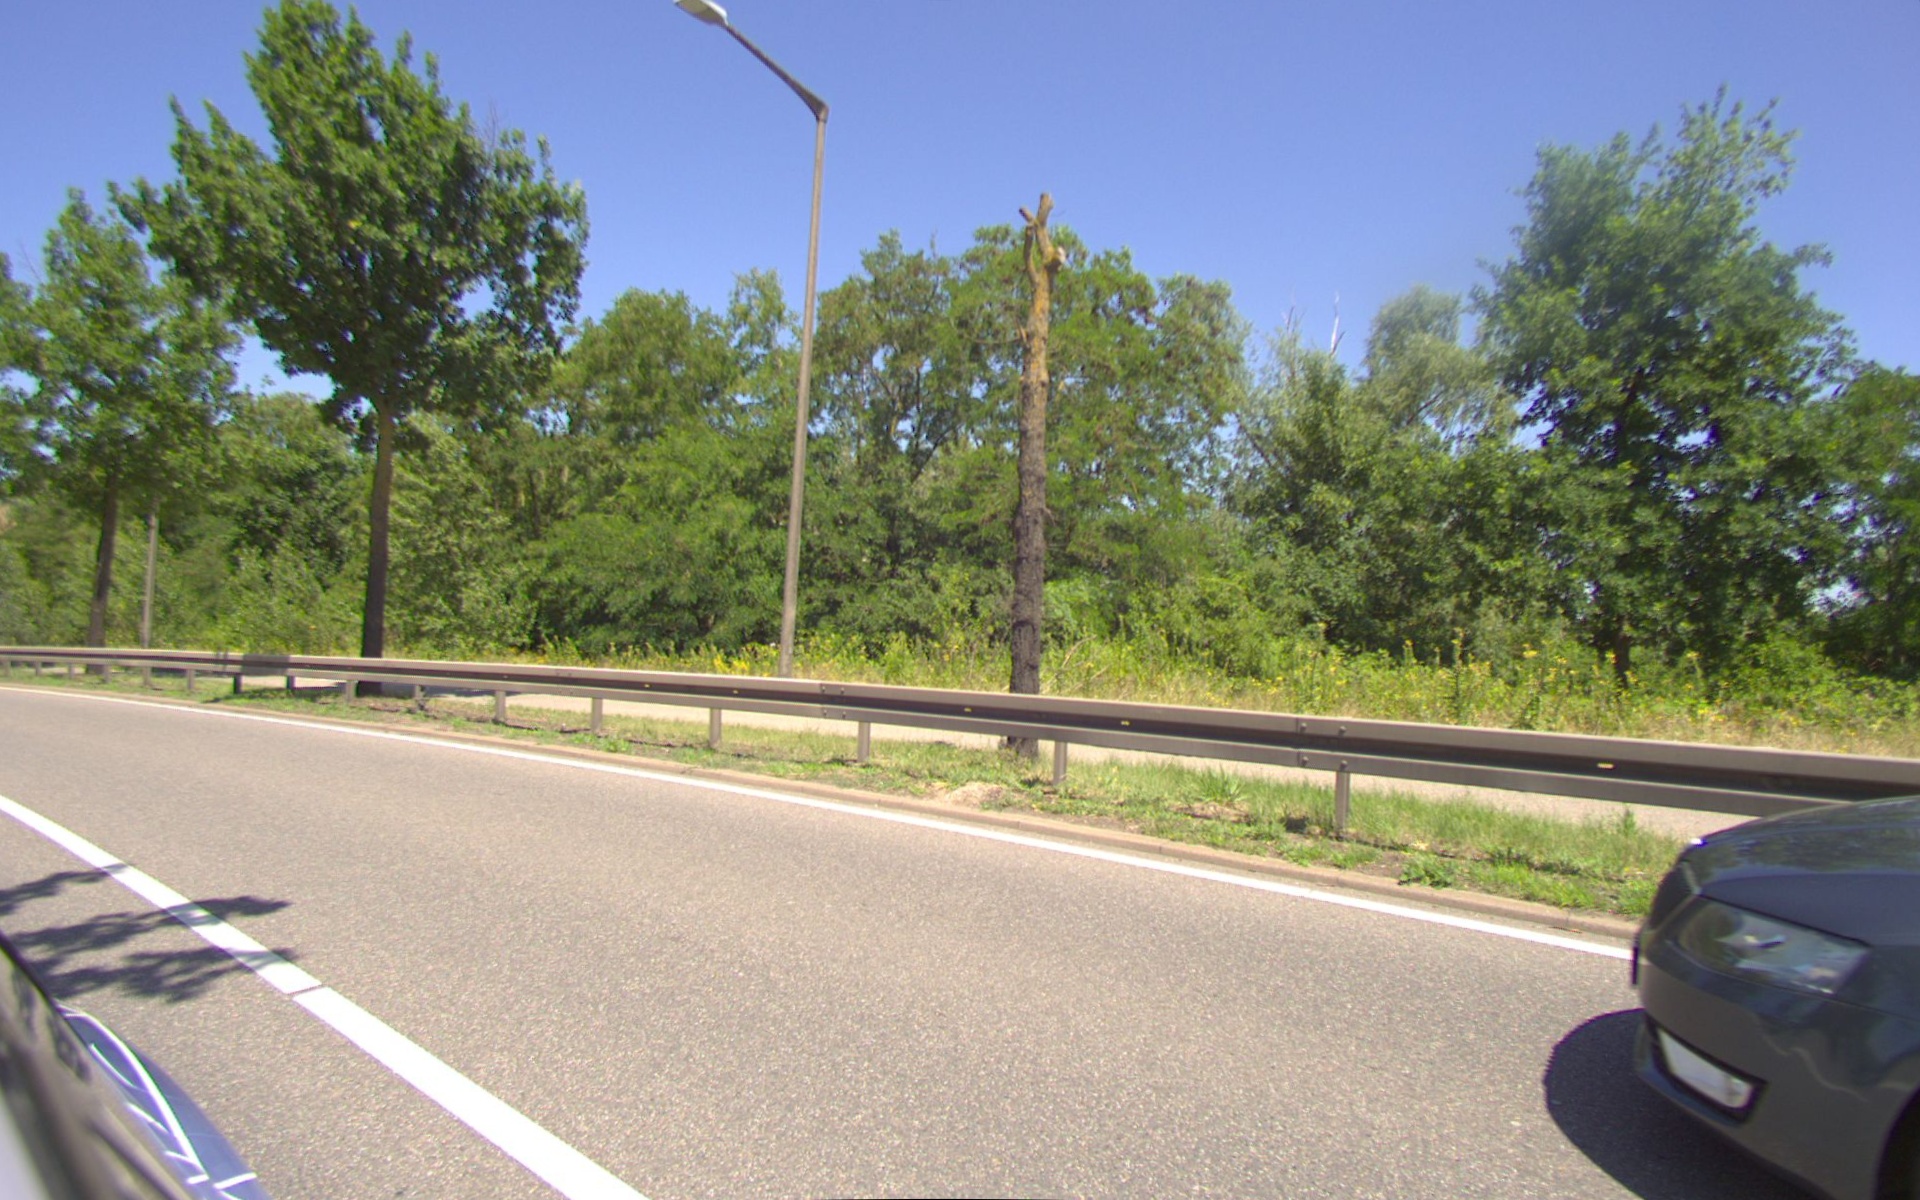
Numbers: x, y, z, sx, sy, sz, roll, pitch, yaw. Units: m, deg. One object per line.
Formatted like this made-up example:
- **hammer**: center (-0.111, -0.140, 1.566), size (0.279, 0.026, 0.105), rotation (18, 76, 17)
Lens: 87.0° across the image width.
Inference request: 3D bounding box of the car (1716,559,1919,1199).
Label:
- **car**: center (3.830, 0.626, 1.199), size (4.518, 1.458, 1.725), rotation (-1, -1, 44)
